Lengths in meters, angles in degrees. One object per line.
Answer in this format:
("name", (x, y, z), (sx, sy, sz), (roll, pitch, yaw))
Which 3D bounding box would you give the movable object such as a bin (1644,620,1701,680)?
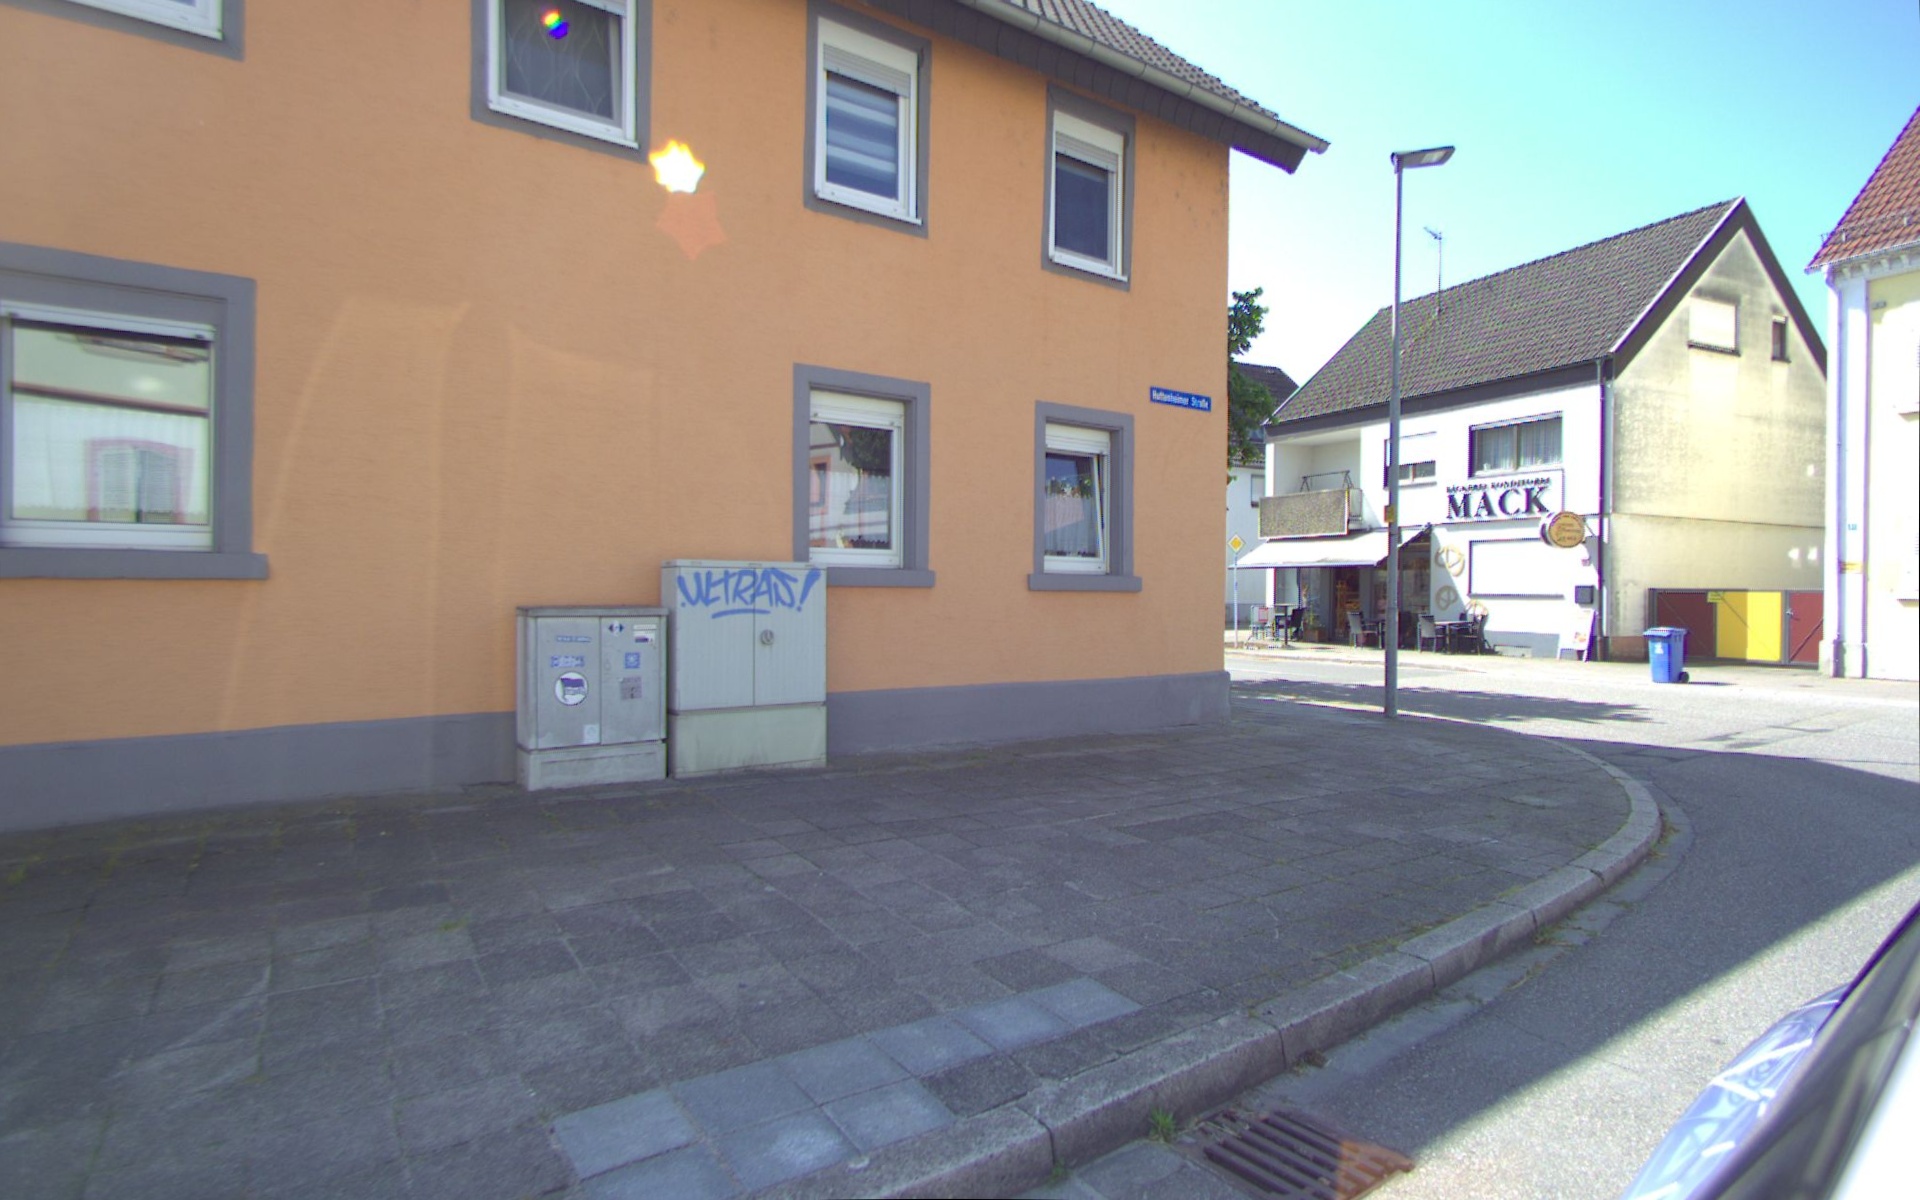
("movable object such as a bin", (12.384, 0.855, 17.585), (0.632, 0.993, 0.614), (0, 0, -32))

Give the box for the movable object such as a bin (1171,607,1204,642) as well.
("movable object such as a bin", (6.248, 0.656, 27.752), (0.632, 0.936, 0.613), (0, 0, -35))
